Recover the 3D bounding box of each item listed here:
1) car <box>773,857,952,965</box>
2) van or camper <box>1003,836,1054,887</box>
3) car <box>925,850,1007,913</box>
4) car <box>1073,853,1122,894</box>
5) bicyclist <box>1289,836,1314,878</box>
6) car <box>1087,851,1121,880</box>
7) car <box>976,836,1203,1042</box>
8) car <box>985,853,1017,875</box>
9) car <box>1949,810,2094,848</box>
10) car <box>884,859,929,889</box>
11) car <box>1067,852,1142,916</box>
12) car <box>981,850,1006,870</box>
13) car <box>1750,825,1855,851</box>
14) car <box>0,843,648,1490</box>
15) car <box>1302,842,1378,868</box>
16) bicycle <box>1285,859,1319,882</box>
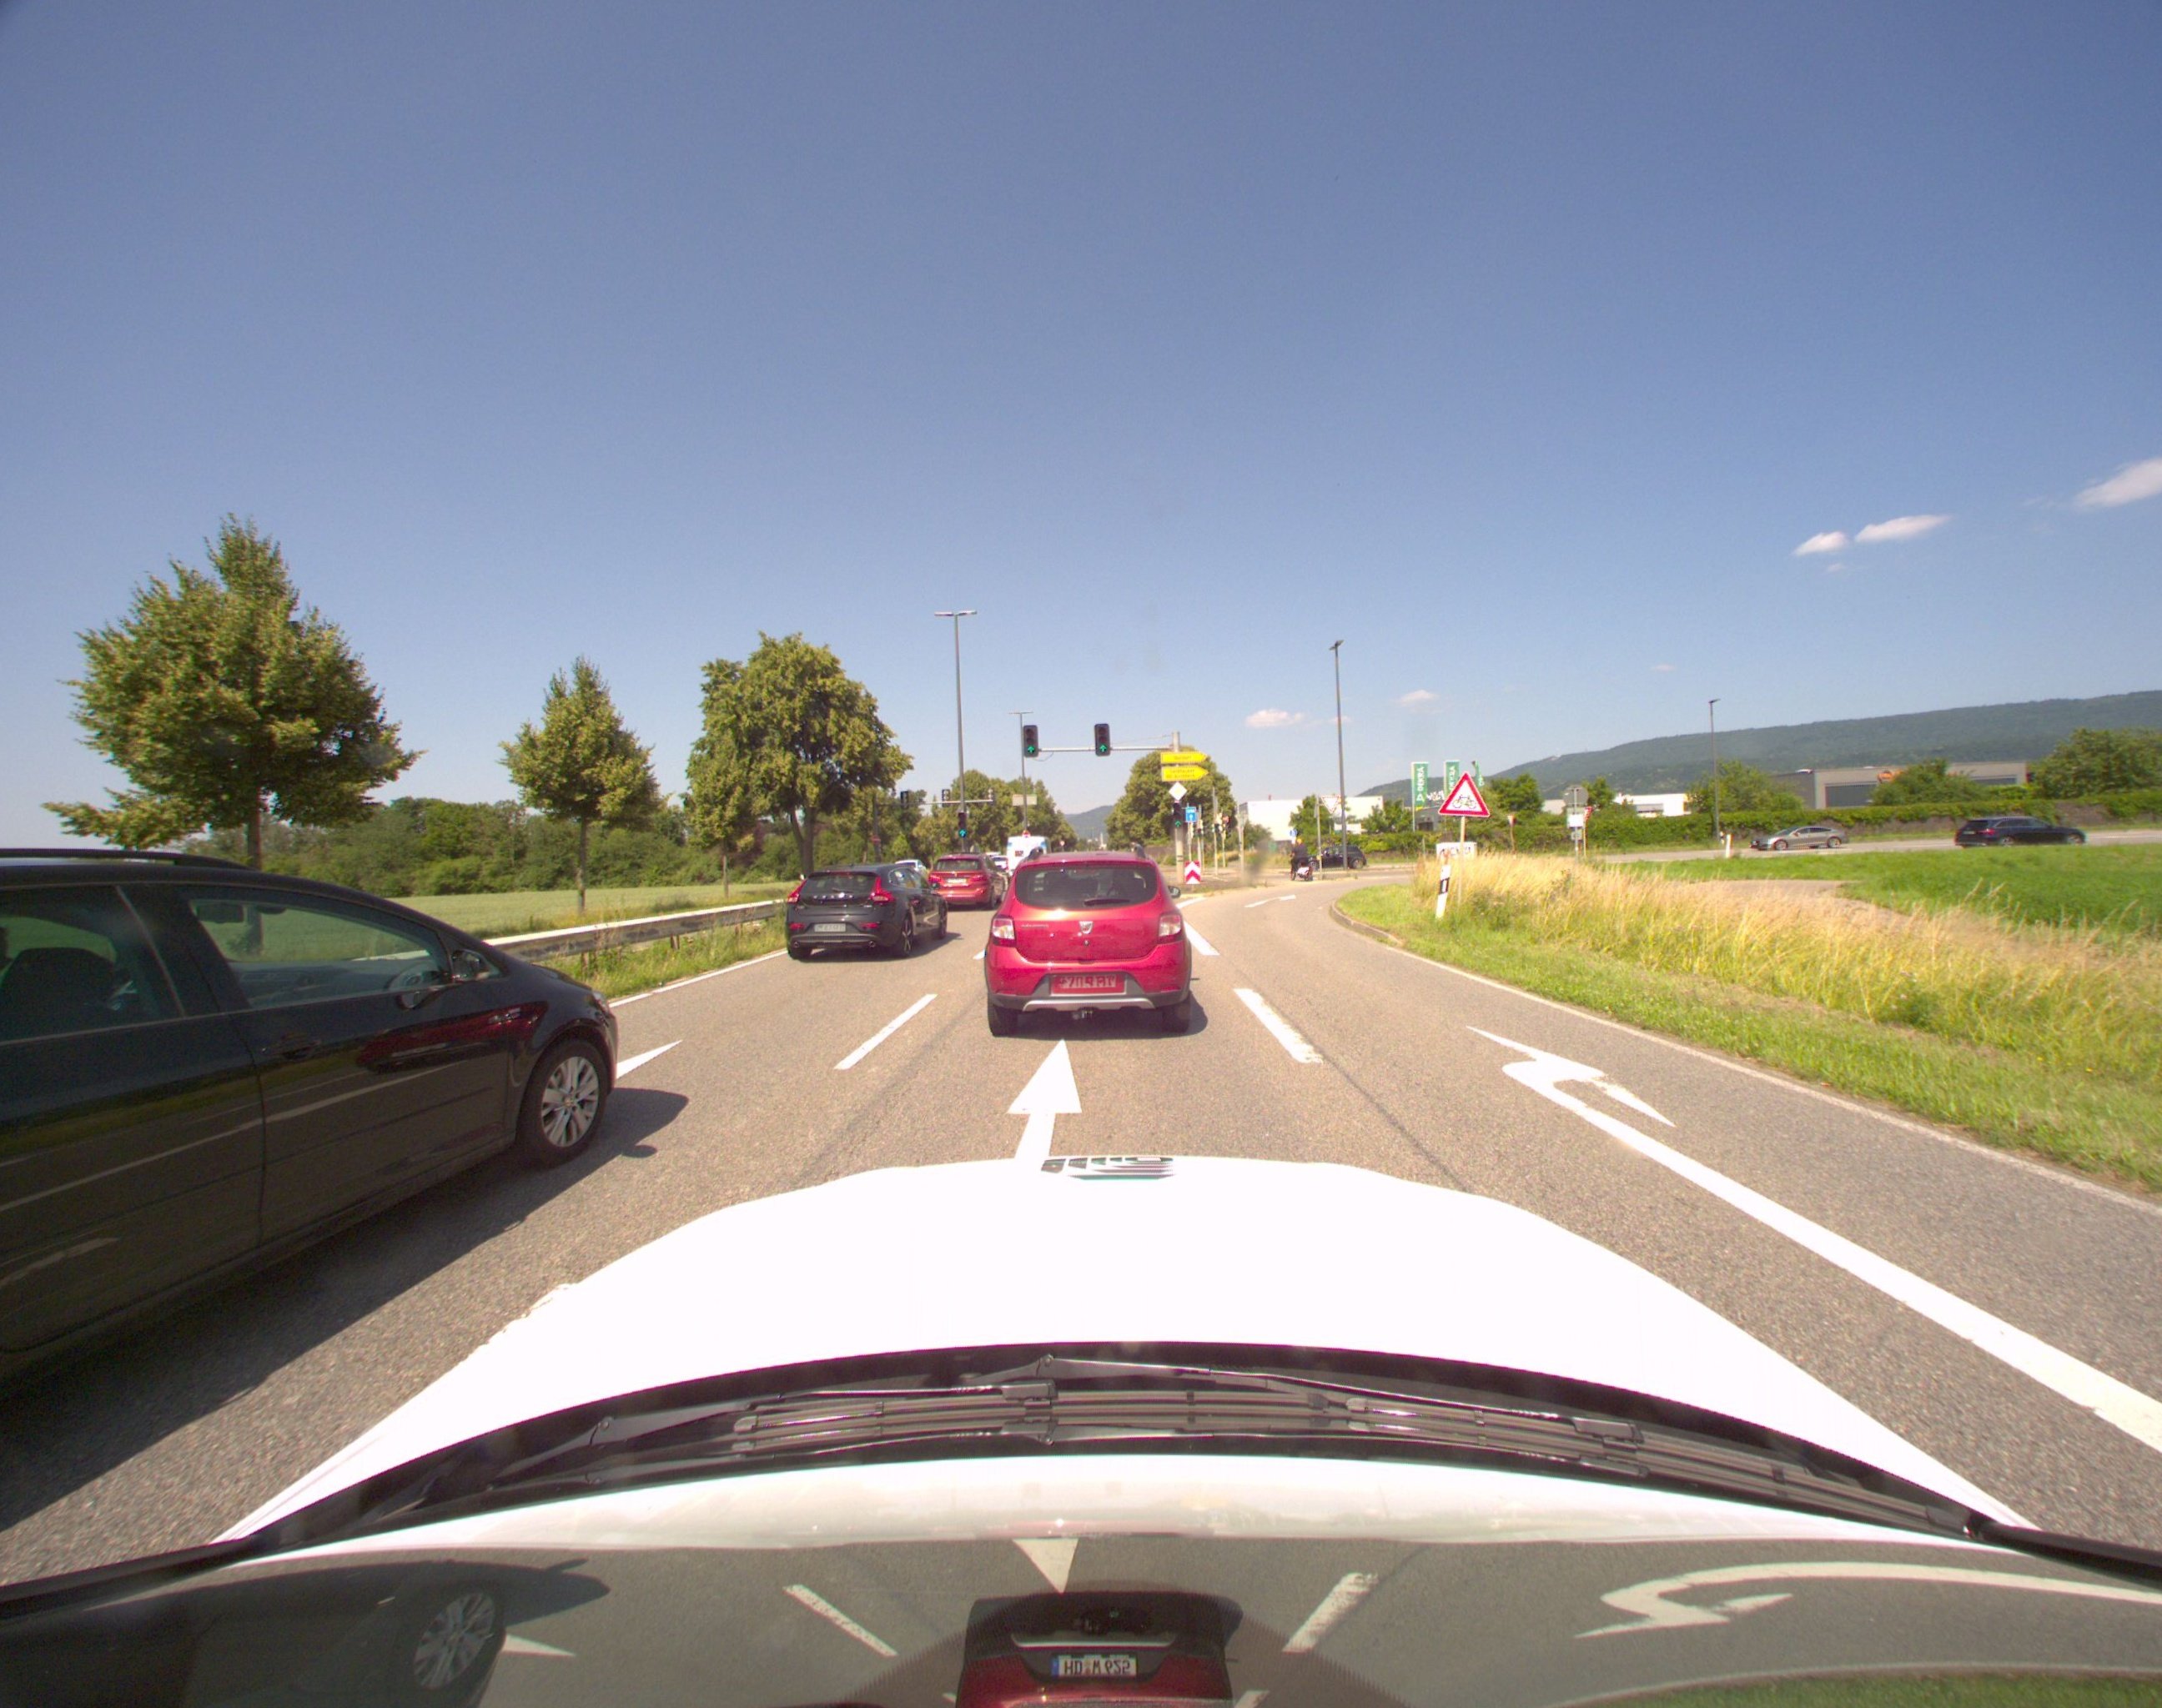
[{"bbox_3d":[-3.377,0.803,13.383,1.695,1.442,3.958,-1,1,2],"label":"car"},{"bbox_3d":[-2.449,0.338,39.307,2.172,2.303,4.825,-1,0,-1],"label":"van or camper"},{"bbox_3d":[-3.211,0.706,23.392,1.718,1.600,3.955,-2,0,0],"label":"car"},{"bbox_3d":[0.703,0.719,32.308,1.742,1.458,3.680,-1,0,3],"label":"car"},{"bbox_3d":[9.608,0.111,35.506,0.799,1.771,0.809,-2,0,0],"label":"bicyclist"},{"bbox_3d":[1.293,0.575,44.414,1.742,1.458,3.680,-1,0,3],"label":"car"},{"bbox_3d":[0.169,0.665,8.186,1.742,1.575,3.679,-1,0,3],"label":"car"},{"bbox_3d":[-6.442,0.797,66.034,1.986,1.670,4.001,-2,0,1],"label":"car"},{"bbox_3d":[45.710,-1.187,39.682,4.298,1.616,2.006,-2,0,10],"label":"car"},{"bbox_3d":[-10.222,1.139,47.957,1.740,1.618,4.134,-2,0,-1],"label":"car"},{"bbox_3d":[0.656,0.699,21.119,1.742,1.458,3.680,-1,0,3],"label":"car"},{"bbox_3d":[-9.192,0.618,86.233,1.987,1.980,5.016,-2,0,0],"label":"car"},{"bbox_3d":[42.967,-0.938,48.621,4.334,1.327,1.812,-3,0,12],"label":"car"},{"bbox_3d":[-3.469,0.771,2.806,1.716,1.575,3.895,-1,0,2],"label":"car"},{"bbox_3d":[14.802,0.037,46.682,3.960,1.327,1.812,-2,0,12],"label":"car"},{"bbox_3d":[9.633,0.705,35.638,0.759,0.915,2.780,-2,0,1],"label":"bicycle"}]
